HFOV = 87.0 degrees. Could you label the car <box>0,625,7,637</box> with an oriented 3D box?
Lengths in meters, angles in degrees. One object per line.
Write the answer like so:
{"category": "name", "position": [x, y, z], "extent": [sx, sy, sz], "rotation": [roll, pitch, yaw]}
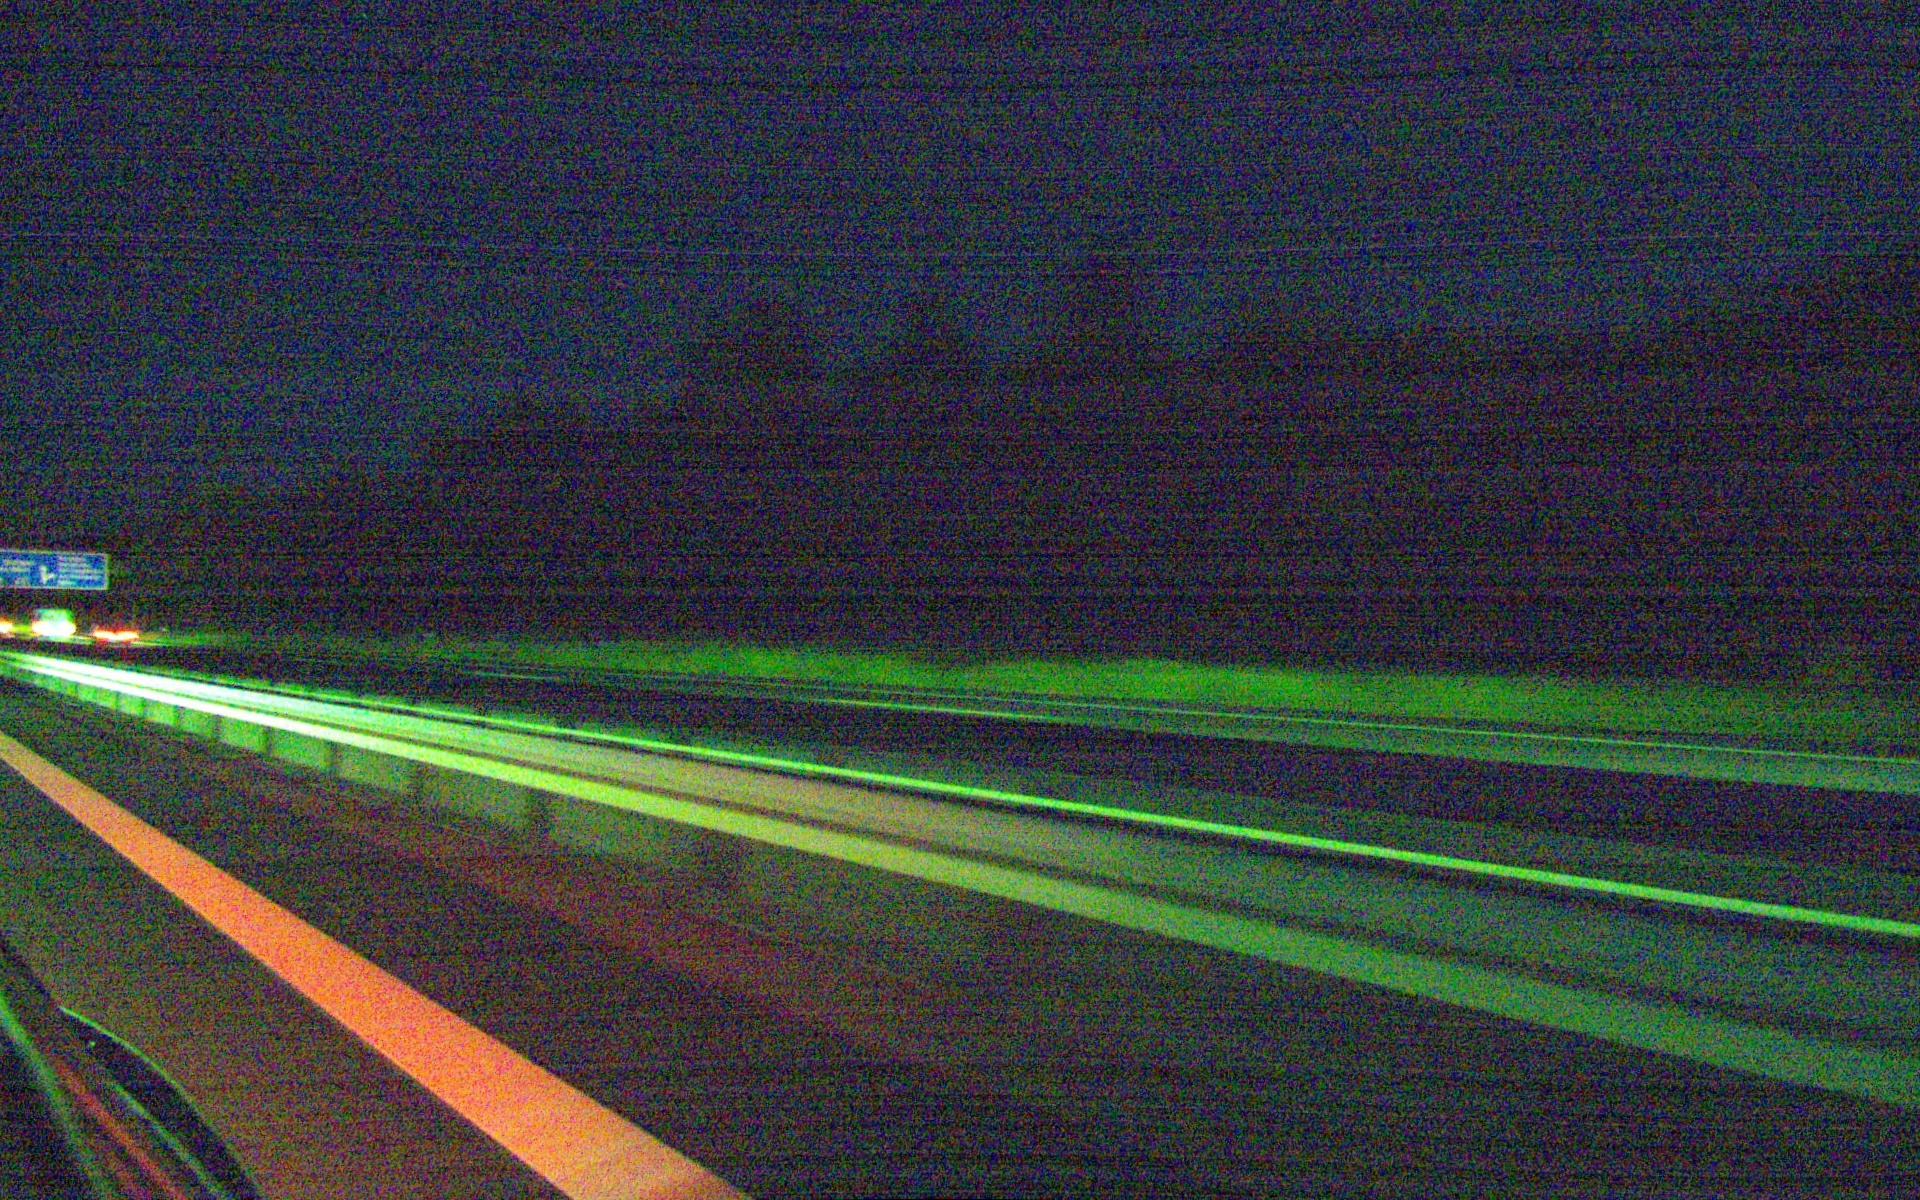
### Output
{"category": "car", "position": [-133.261, 4.259, 139.937], "extent": [4.551, 1.553, 1.771], "rotation": [-2, -7, 43]}

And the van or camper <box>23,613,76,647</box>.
{"category": "van or camper", "position": [-75.214, 2.473, 83.545], "extent": [7.774, 2.651, 2.304], "rotation": [-1, -4, 42]}

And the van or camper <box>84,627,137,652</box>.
{"category": "van or camper", "position": [-54.529, 2.530, 64.914], "extent": [5.100, 1.452, 1.761], "rotation": [-1, -4, 41]}
